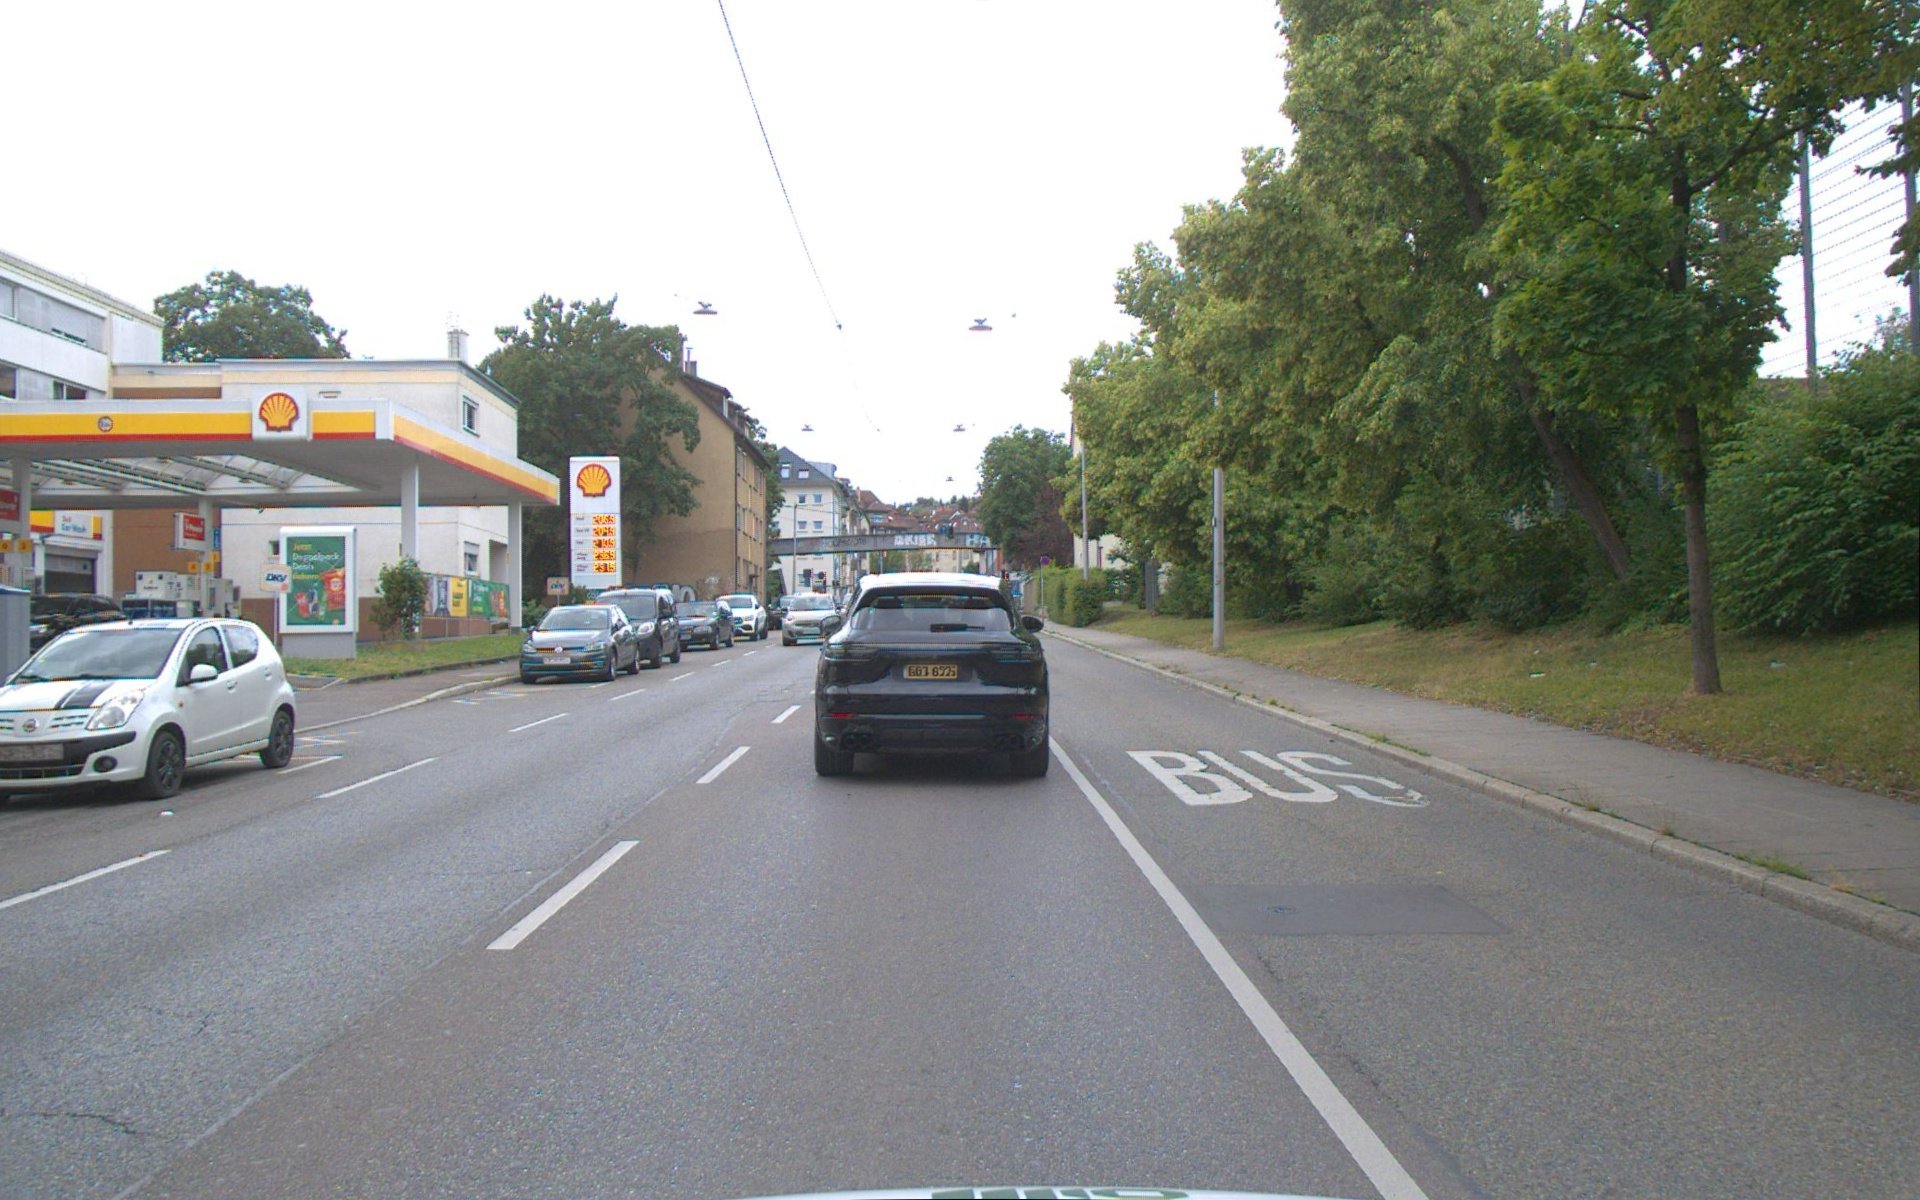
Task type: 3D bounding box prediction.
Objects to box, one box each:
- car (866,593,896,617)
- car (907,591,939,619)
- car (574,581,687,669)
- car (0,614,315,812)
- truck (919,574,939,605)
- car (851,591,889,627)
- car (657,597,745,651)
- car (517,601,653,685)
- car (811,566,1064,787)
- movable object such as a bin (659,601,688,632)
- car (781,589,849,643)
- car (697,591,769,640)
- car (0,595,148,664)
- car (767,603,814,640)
[{"bbox_3d":[-5.163,0.327,108.568,1.741,1.492,4.498,-2,0,0],"label":"car"},{"bbox_3d":[-1.983,0.264,90.239,1.706,1.424,4.000,0,1,-1],"label":"car"},{"bbox_3d":[-7.561,0.539,38.352,1.814,1.867,4.699,-2,0,-3],"label":"car"},{"bbox_3d":[-7.247,0.899,14.705,1.586,1.450,3.665,-1,0,-1],"label":"car"},{"bbox_3d":[-3.681,-1.221,194.195,2.221,3.484,9.875,-1,0,-1],"label":"truck"},{"bbox_3d":[-4.125,0.405,76.299,1.649,1.582,3.717,-2,0,-2],"label":"car"},{"bbox_3d":[-7.742,0.682,49.816,1.760,1.456,4.744,-2,0,1],"label":"car"},{"bbox_3d":[-7.366,0.800,32.867,1.754,1.475,4.217,-2,0,-1],"label":"car"},{"bbox_3d":[-0.191,0.564,14.775,1.953,1.691,4.000,0,1,-1],"label":"car"},{"bbox_3d":[-13.565,0.773,78.249,1.256,1.453,1.278,0,0,-5],"label":"movable object such as a bin"},{"bbox_3d":[-4.471,0.478,51.518,1.761,1.551,3.999,-2,0,-1],"label":"car"},{"bbox_3d":[-8.014,0.522,58.743,1.876,1.605,4.699,-2,0,0],"label":"car"},{"bbox_3d":[-19.984,0.611,36.742,1.761,1.445,4.416,0,0,-1],"label":"car"},{"bbox_3d":[-8.217,1.003,80.577,1.746,1.637,4.264,-3,0,0],"label":"car"}]
